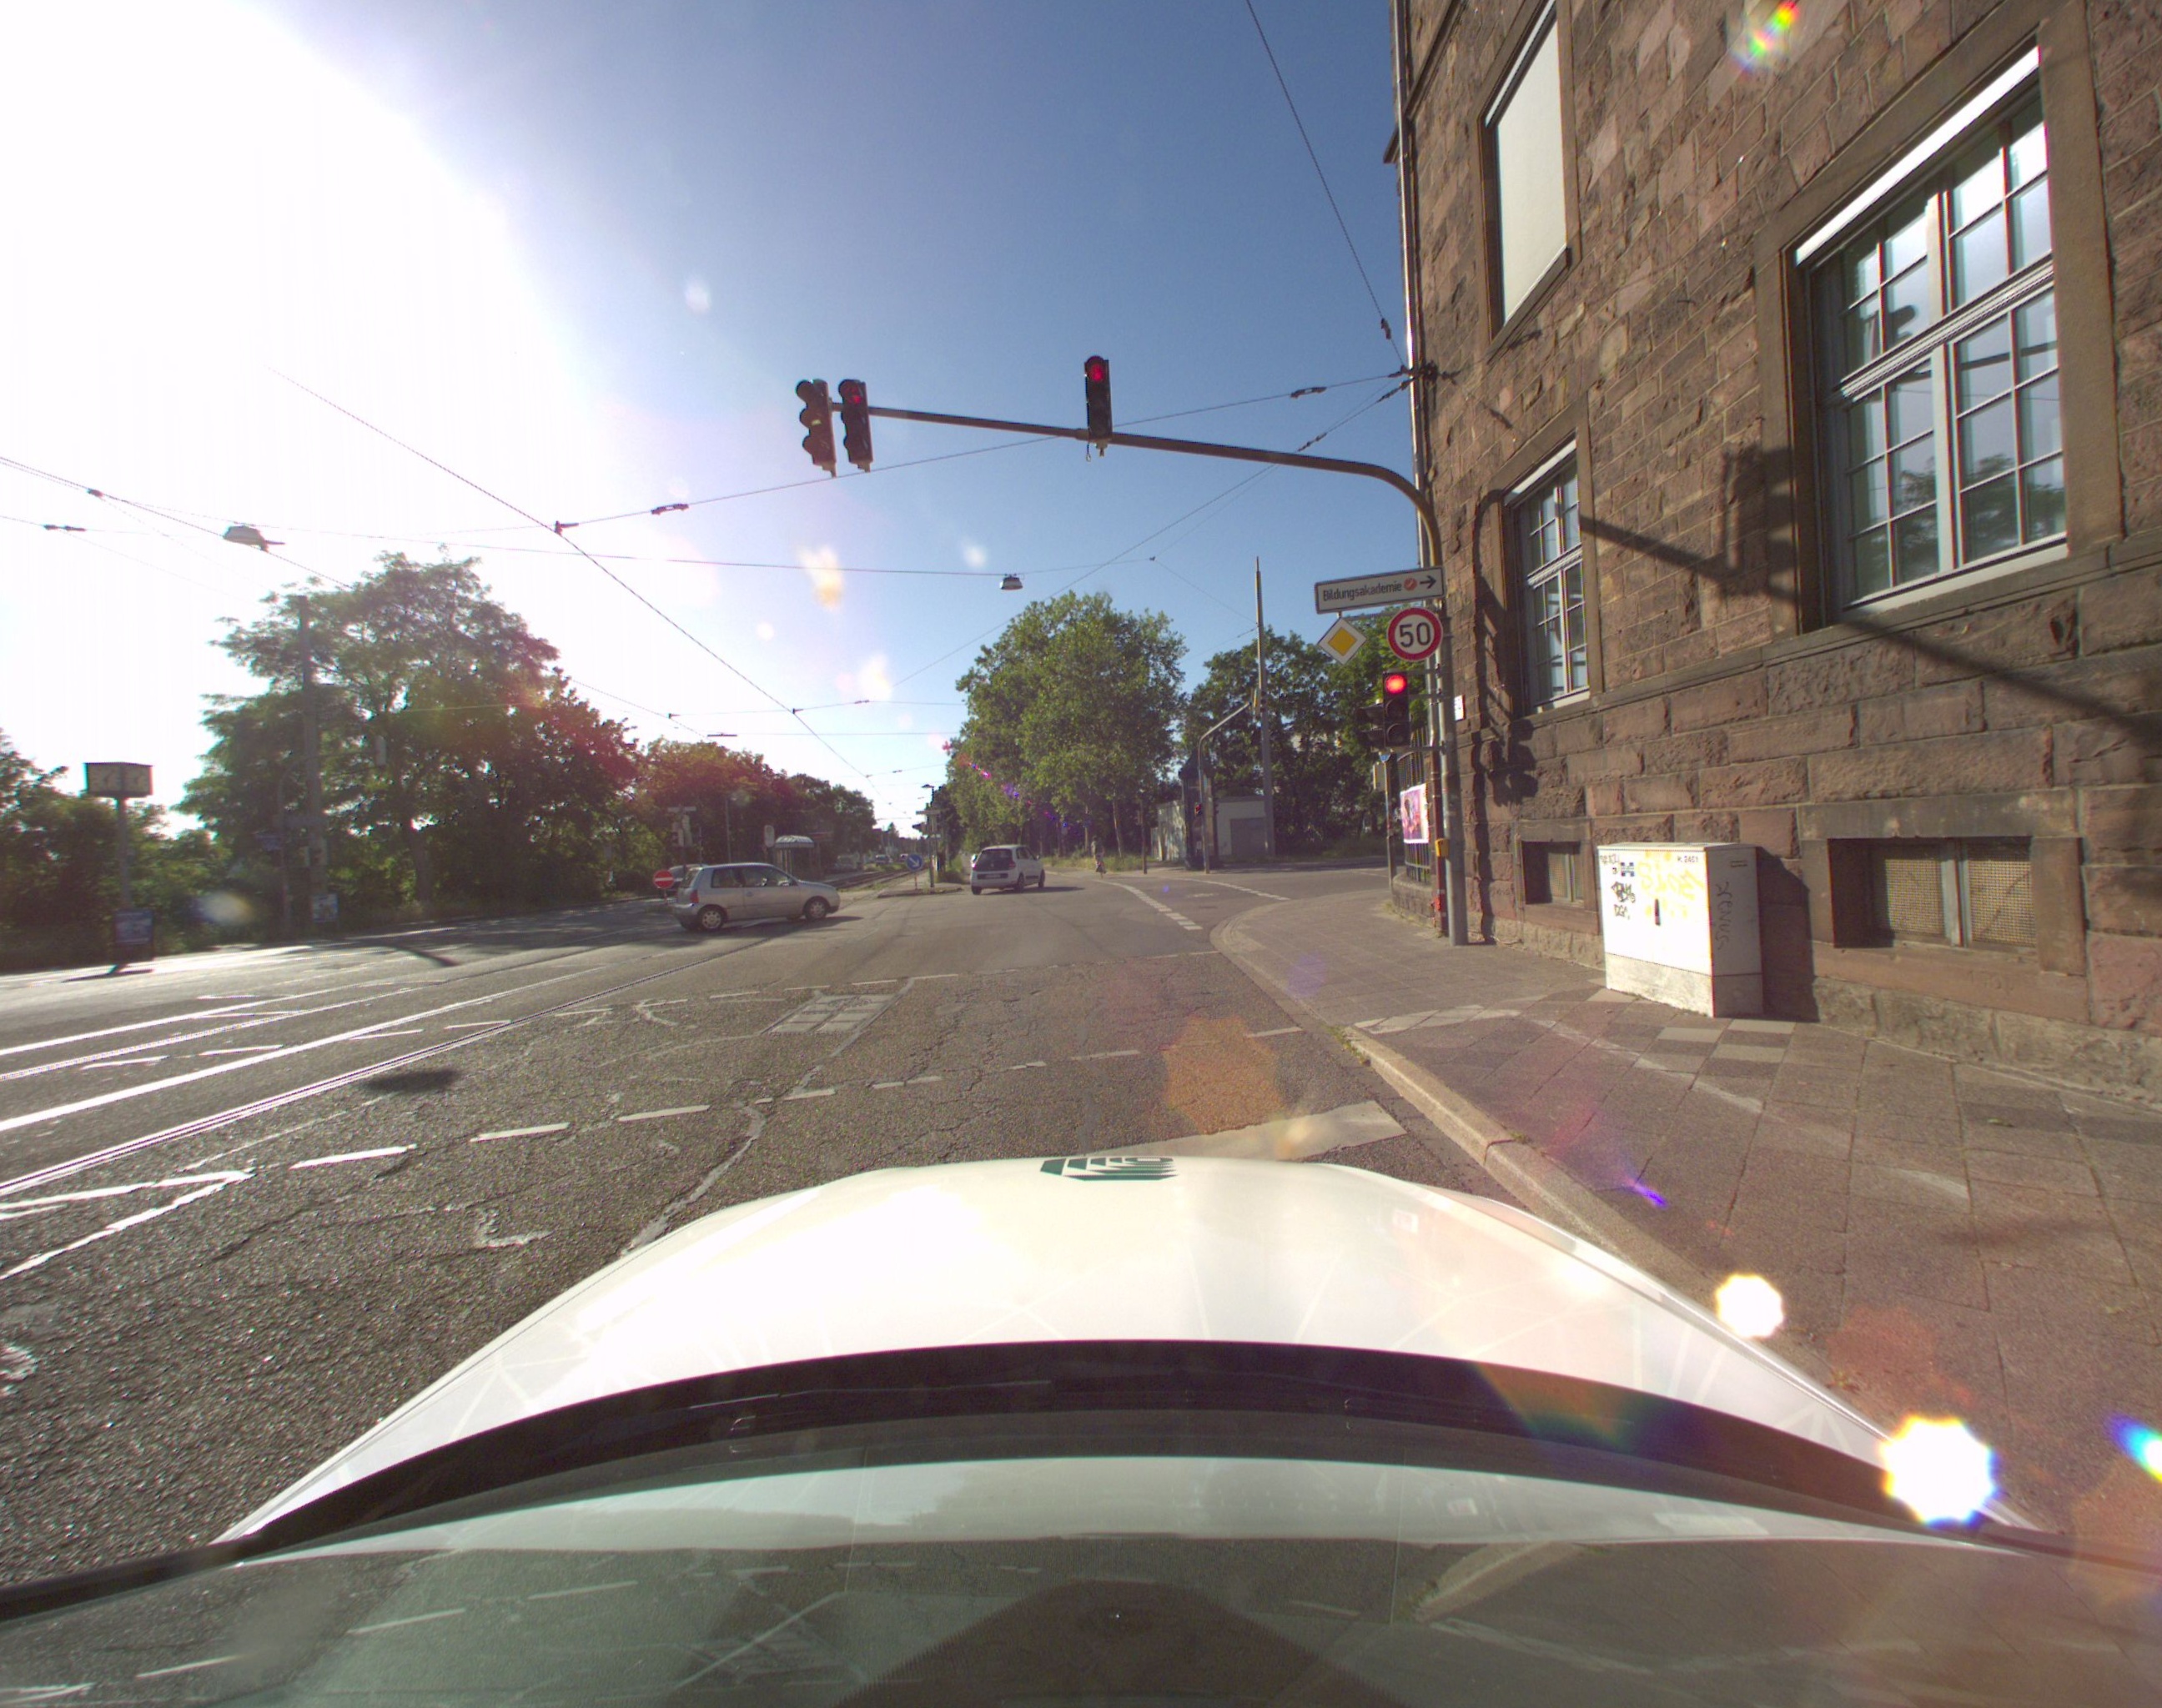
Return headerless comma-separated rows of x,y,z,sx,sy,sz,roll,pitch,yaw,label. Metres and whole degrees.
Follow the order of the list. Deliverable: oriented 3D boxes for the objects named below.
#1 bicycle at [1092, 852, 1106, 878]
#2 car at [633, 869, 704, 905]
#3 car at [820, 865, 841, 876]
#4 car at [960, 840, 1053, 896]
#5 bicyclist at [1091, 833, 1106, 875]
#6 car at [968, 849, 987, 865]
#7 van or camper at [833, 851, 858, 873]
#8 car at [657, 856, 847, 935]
0.776,0.473,35.187,0.534,1.066,1.434,-4,0,2,bicycle
-22.943,1.780,45.527,1.994,1.767,5.014,-4,0,-9,car
-34.407,2.226,111.841,1.919,1.266,3.991,-4,0,-7,car
-2.406,0.414,27.276,1.737,1.604,3.767,-3,1,17,car
0.752,0.000,35.246,0.532,1.769,0.713,-4,0,1,bicyclist
-11.193,0.309,87.769,1.750,1.604,3.569,-4,1,-9,car
-35.847,1.246,124.227,2.589,3.106,6.768,-4,0,-9,van or camper
-7.485,0.879,18.669,3.574,1.486,1.851,-3,0,-41,car
